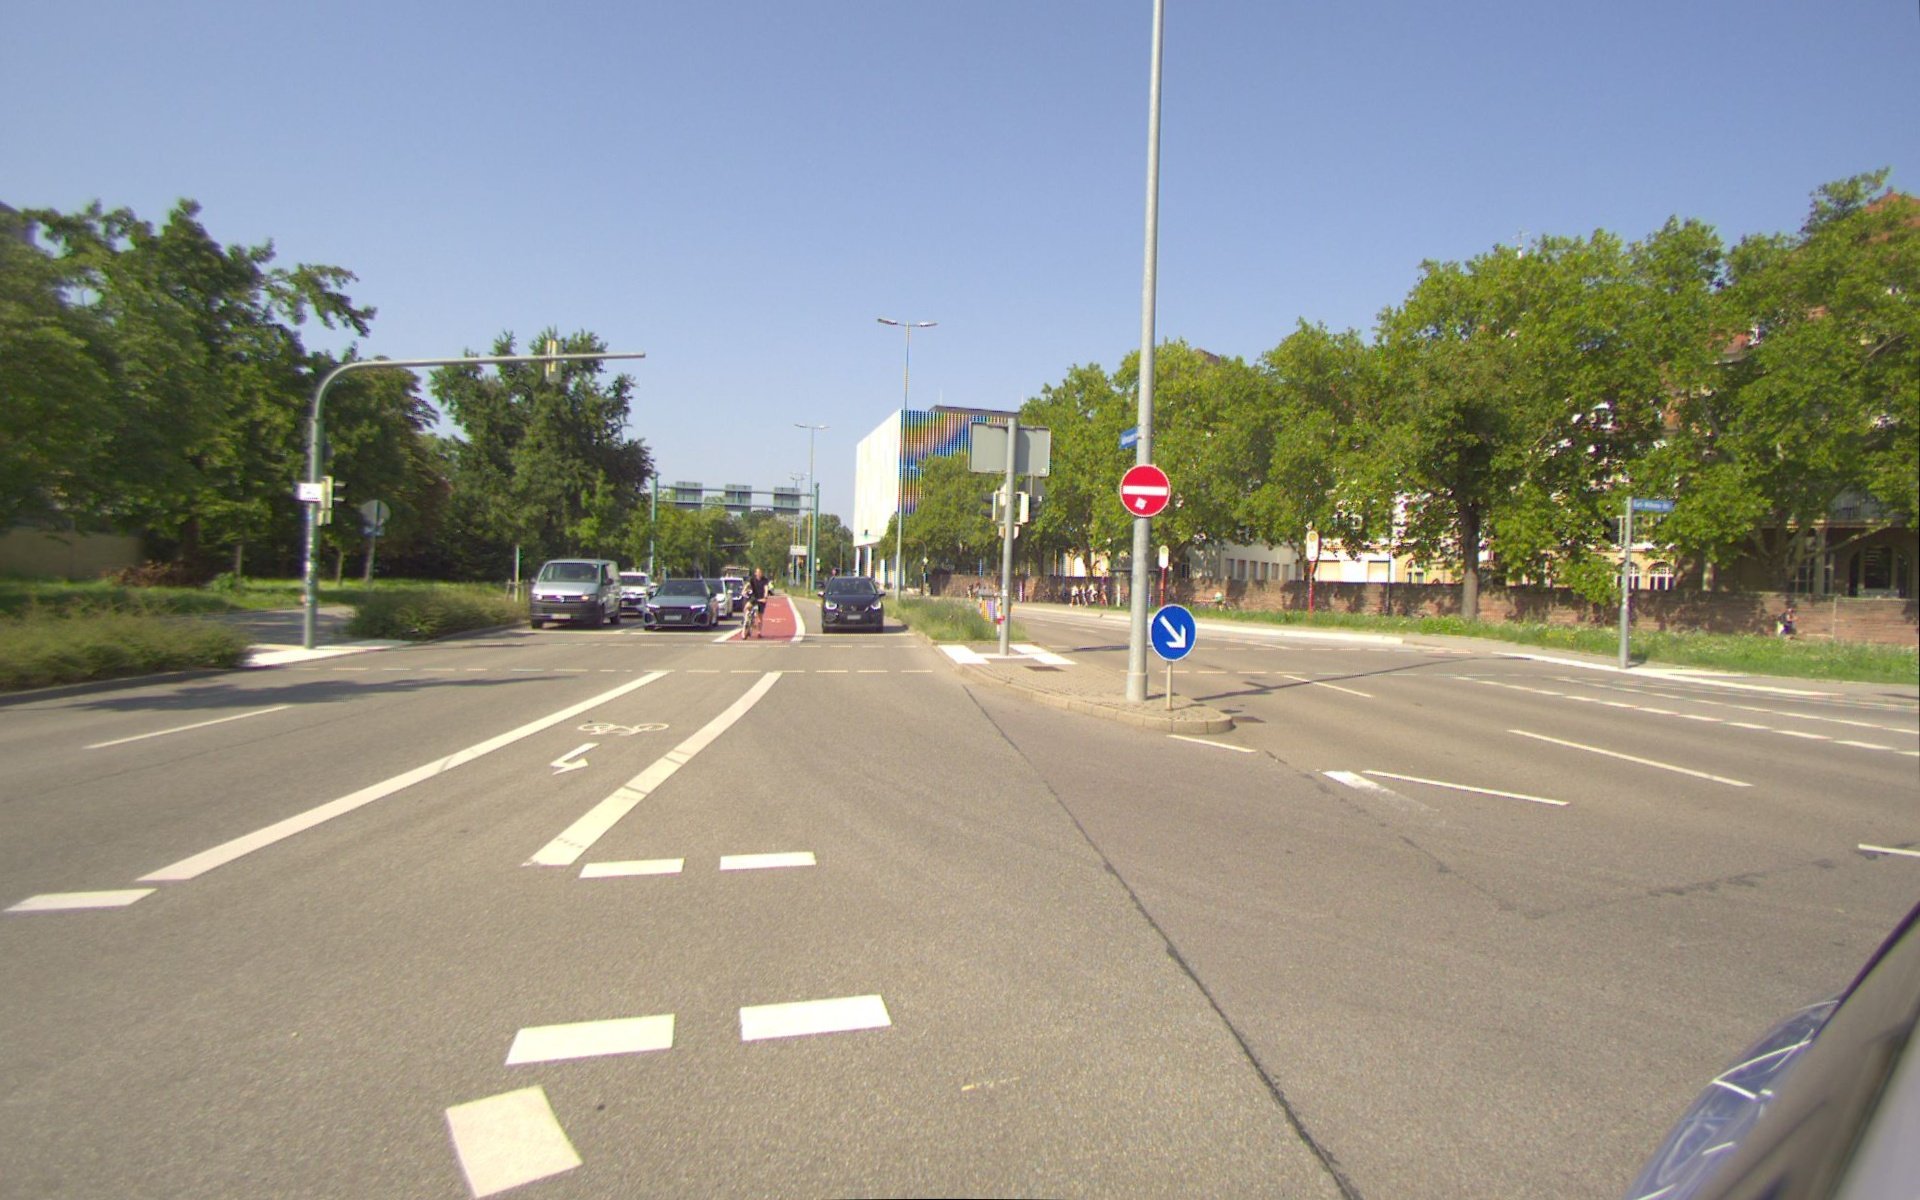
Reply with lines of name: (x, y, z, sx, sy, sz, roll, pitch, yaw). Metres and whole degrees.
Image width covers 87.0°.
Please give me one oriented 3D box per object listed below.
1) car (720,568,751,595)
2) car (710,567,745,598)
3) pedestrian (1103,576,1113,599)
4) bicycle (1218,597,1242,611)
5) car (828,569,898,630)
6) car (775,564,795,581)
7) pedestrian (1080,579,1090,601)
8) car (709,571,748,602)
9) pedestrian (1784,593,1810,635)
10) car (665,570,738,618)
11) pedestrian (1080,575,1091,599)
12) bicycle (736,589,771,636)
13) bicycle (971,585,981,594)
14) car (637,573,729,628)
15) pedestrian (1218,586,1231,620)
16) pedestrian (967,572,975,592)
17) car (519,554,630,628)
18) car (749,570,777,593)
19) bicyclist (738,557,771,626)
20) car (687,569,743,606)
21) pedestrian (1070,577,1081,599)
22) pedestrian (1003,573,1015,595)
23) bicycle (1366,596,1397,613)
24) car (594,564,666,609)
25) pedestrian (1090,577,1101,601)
car: (-15.053, -1.288, 67.747, 1.892, 1.680, 4.304, 2, 1, -13)
car: (-13.687, -1.058, 59.592, 1.892, 1.680, 4.304, 2, 1, -13)
pedestrian: (10.646, -0.894, 72.789, 0.473, 1.673, 0.595, 2, -2, -30)
bicycle: (17.078, 0.253, 63.981, 0.425, 0.846, 1.550, 2, 1, -35)
car: (-2.801, -0.080, 29.105, 1.816, 1.598, 4.721, 0, 1, -6)
car: (-22.884, -3.575, 132.215, 1.879, 2.039, 4.007, 2, -1, -20)
pedestrian: (9.277, -0.734, 75.263, 0.473, 1.673, 0.595, 2, -2, -30)
car: (-12.393, -0.724, 54.074, 1.892, 1.524, 4.304, 2, 1, -13)
pedestrian: (34.489, 0.580, 41.718, 0.585, 1.704, 0.716, 1, 1, -44)
car: (-9.166, -0.253, 36.182, 1.959, 1.524, 4.442, 2, 1, -7)
pedestrian: (9.138, -0.929, 73.535, 0.509, 1.673, 0.595, 2, -2, -30)
bicycle: (-5.068, 0.288, 24.918, 0.754, 1.065, 1.779, 2, 2, -10)
bicycle: (1.506, -1.015, 96.550, 0.425, 0.846, 1.554, 2, 1, -19)
car: (-7.969, -0.041, 29.549, 1.872, 1.418, 4.928, 2, 1, -7)
pedestrian: (16.618, 0.172, 63.655, 0.509, 2.132, 0.595, 2, -2, -30)
pedestrian: (0.962, -1.591, 88.637, 0.476, 1.762, 0.506, 2, -2, -15)
car: (-11.001, -0.299, 29.236, 1.809, 1.898, 4.981, 2, 1, -7)
car: (-15.310, -1.485, 78.445, 1.892, 1.680, 4.304, 2, 1, -13)
bicyclist: (-5.048, -0.218, 24.917, 0.733, 1.656, 0.877, 2, 1, -10)
car: (-10.952, -0.578, 45.437, 1.959, 1.524, 4.302, 2, 1, -8)
pedestrian: (8.529, -0.895, 74.765, 0.524, 1.591, 0.503, 3, -2, -32)
pedestrian: (4.344, -1.409, 89.593, 0.726, 1.979, 0.934, 2, -2, -21)
bicycle: (23.179, 0.263, 55.635, 0.426, 0.846, 1.549, 1, 1, -37)
car: (-12.081, -0.520, 37.252, 1.774, 1.524, 3.974, 2, 1, -7)
pedestrian: (9.663, -0.808, 72.305, 0.509, 1.673, 0.595, 2, -2, -30)
